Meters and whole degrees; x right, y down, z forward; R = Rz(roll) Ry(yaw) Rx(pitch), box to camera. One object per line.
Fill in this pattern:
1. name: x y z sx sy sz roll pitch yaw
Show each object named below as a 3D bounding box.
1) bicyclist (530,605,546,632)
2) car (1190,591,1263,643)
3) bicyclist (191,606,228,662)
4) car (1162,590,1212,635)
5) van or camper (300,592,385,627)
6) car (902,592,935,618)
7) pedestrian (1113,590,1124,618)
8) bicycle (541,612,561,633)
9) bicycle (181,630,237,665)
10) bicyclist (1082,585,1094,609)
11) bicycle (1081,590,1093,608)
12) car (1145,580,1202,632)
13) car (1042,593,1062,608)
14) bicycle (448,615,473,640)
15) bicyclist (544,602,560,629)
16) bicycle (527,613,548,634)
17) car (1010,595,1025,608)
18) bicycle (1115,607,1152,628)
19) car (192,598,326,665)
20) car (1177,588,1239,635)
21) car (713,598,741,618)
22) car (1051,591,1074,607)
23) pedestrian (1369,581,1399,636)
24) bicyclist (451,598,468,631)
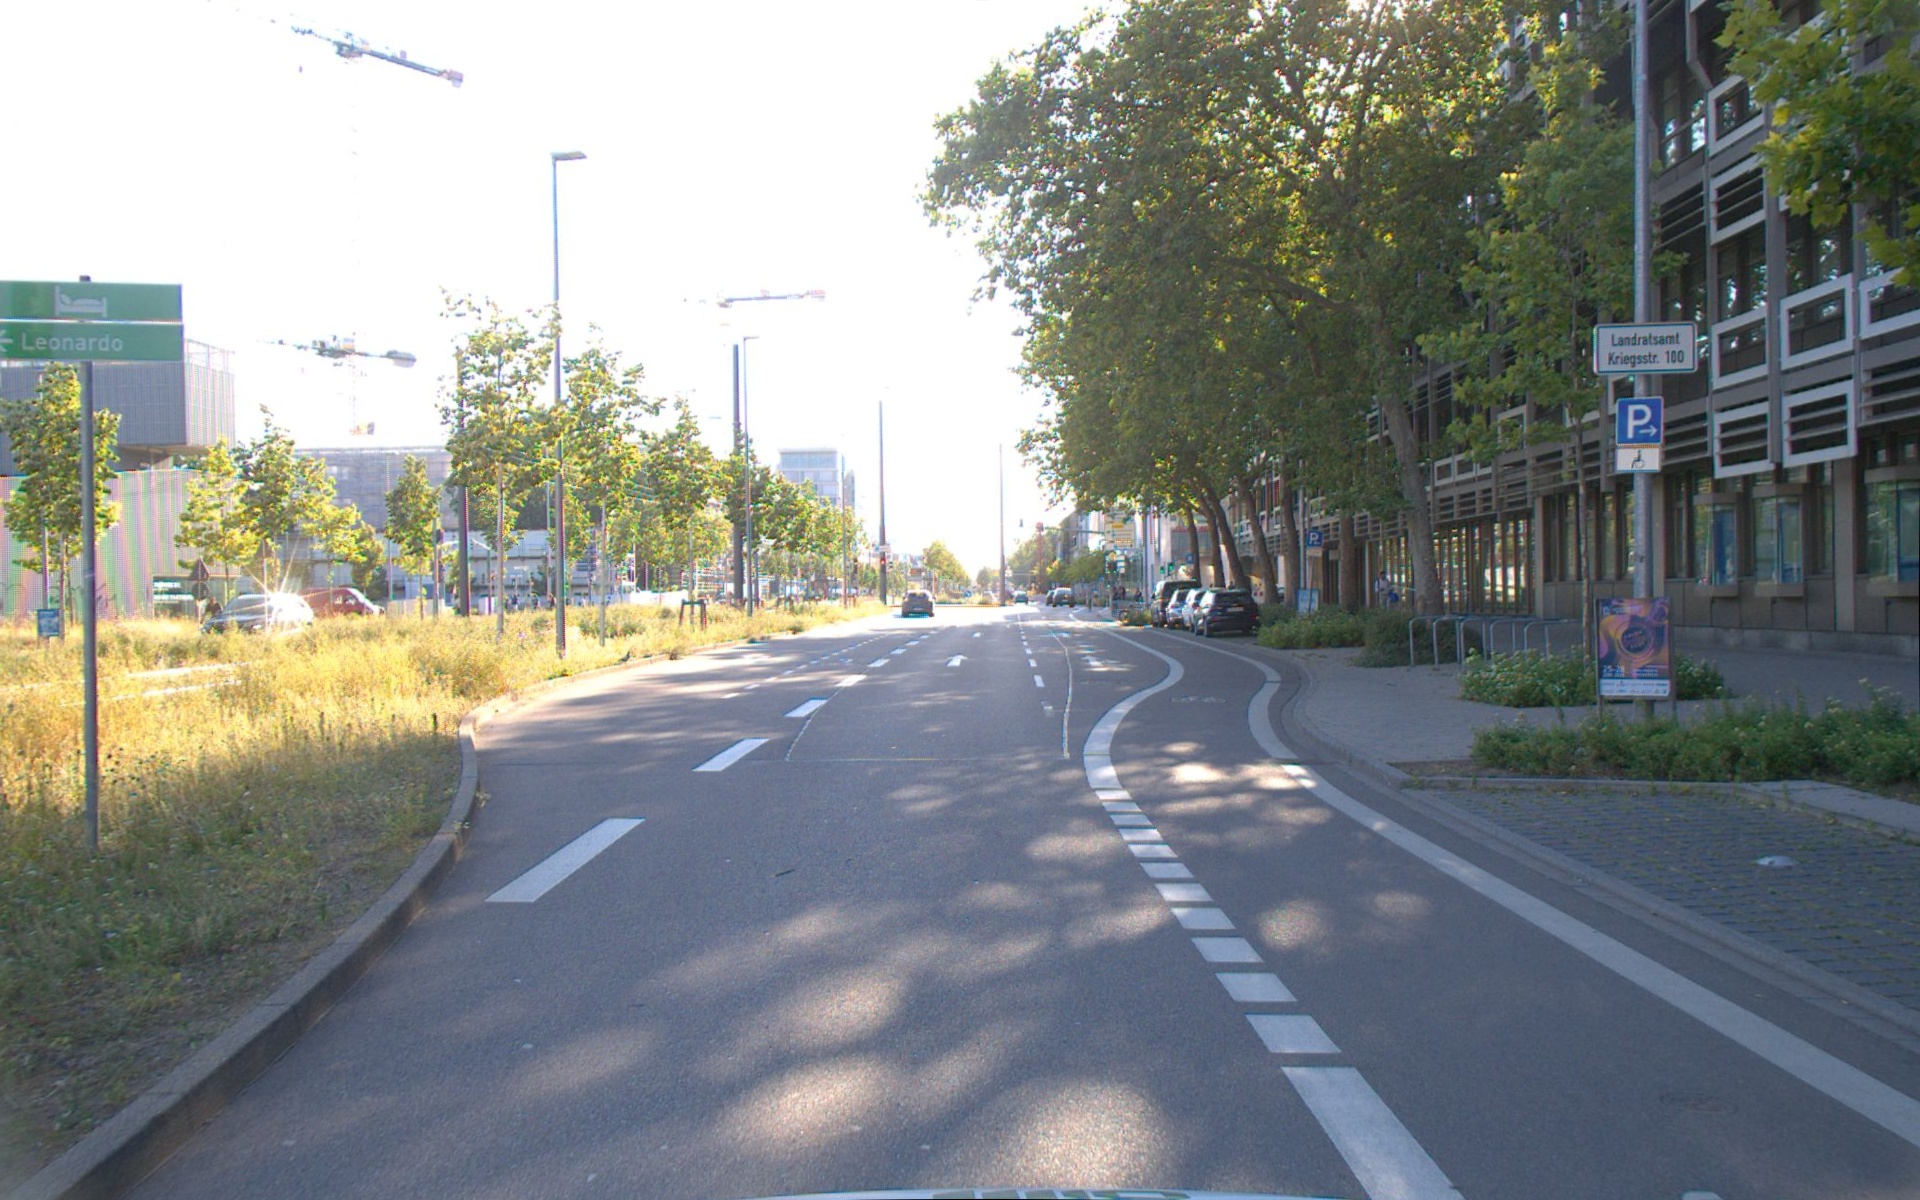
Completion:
1. bicyclist: -23.325 1.030 91.364 0.571 1.467 1.076 -1 0 2
2. car: 8.358 0.499 52.118 1.671 1.443 4.277 -3 0 2
3. bicyclist: -23.924 1.084 52.742 0.673 1.738 0.954 -1 0 1
4. car: 8.745 0.439 64.003 1.646 1.540 5.062 -3 0 5
5. van or camper: -46.572 0.715 124.827 5.542 2.456 2.156 -1 0 3
6. car: -2.288 0.263 92.458 1.740 1.453 4.000 0 0 0
7. pedestrian: 10.365 0.256 107.928 0.621 1.732 0.570 -3 0 2
8. bicycle: -22.601 1.256 91.420 0.571 1.124 1.988 -1 0 2
9. bicycle: -23.923 1.508 52.730 0.673 1.020 2.362 -1 0 1
10. bicyclist: 8.914 -0.206 114.967 0.783 1.630 0.785 -1 0 2
11. bicycle: 8.836 -0.063 114.937 0.783 1.225 2.265 -1 0 5
12. car: 9.006 0.234 70.100 1.791 2.005 5.323 -3 0 2
13. car: 9.675 0.072 174.229 1.900 1.510 3.925 -1 0 0
14. bicycle: -23.059 1.275 76.372 0.547 1.078 1.899 -1 0 2
15. bicyclist: -22.588 0.829 91.499 0.571 1.467 1.076 -1 0 2
16. bicycle: -23.327 1.280 91.387 0.571 1.124 1.988 -1 0 2
17. car: 7.256 0.179 210.515 1.723 1.510 3.849 -1 0 0
18. bicycle: 8.223 0.828 78.372 1.656 0.882 0.573 -3 0 10
19. car: -20.475 0.870 48.530 1.832 1.796 4.813 -1 0 0
20. car: 8.683 0.391 58.121 1.647 1.504 3.875 -3 0 2
21. car: -22.050 0.728 156.619 1.952 1.807 4.001 -1 0 1
22. car: 9.507 -0.081 153.728 1.900 1.453 3.925 -1 0 0
23. pedestrian: 14.712 0.285 57.355 0.814 1.888 0.847 -1 0 1
24. bicyclist: -23.067 0.660 76.300 0.545 1.533 0.668 -1 0 1
